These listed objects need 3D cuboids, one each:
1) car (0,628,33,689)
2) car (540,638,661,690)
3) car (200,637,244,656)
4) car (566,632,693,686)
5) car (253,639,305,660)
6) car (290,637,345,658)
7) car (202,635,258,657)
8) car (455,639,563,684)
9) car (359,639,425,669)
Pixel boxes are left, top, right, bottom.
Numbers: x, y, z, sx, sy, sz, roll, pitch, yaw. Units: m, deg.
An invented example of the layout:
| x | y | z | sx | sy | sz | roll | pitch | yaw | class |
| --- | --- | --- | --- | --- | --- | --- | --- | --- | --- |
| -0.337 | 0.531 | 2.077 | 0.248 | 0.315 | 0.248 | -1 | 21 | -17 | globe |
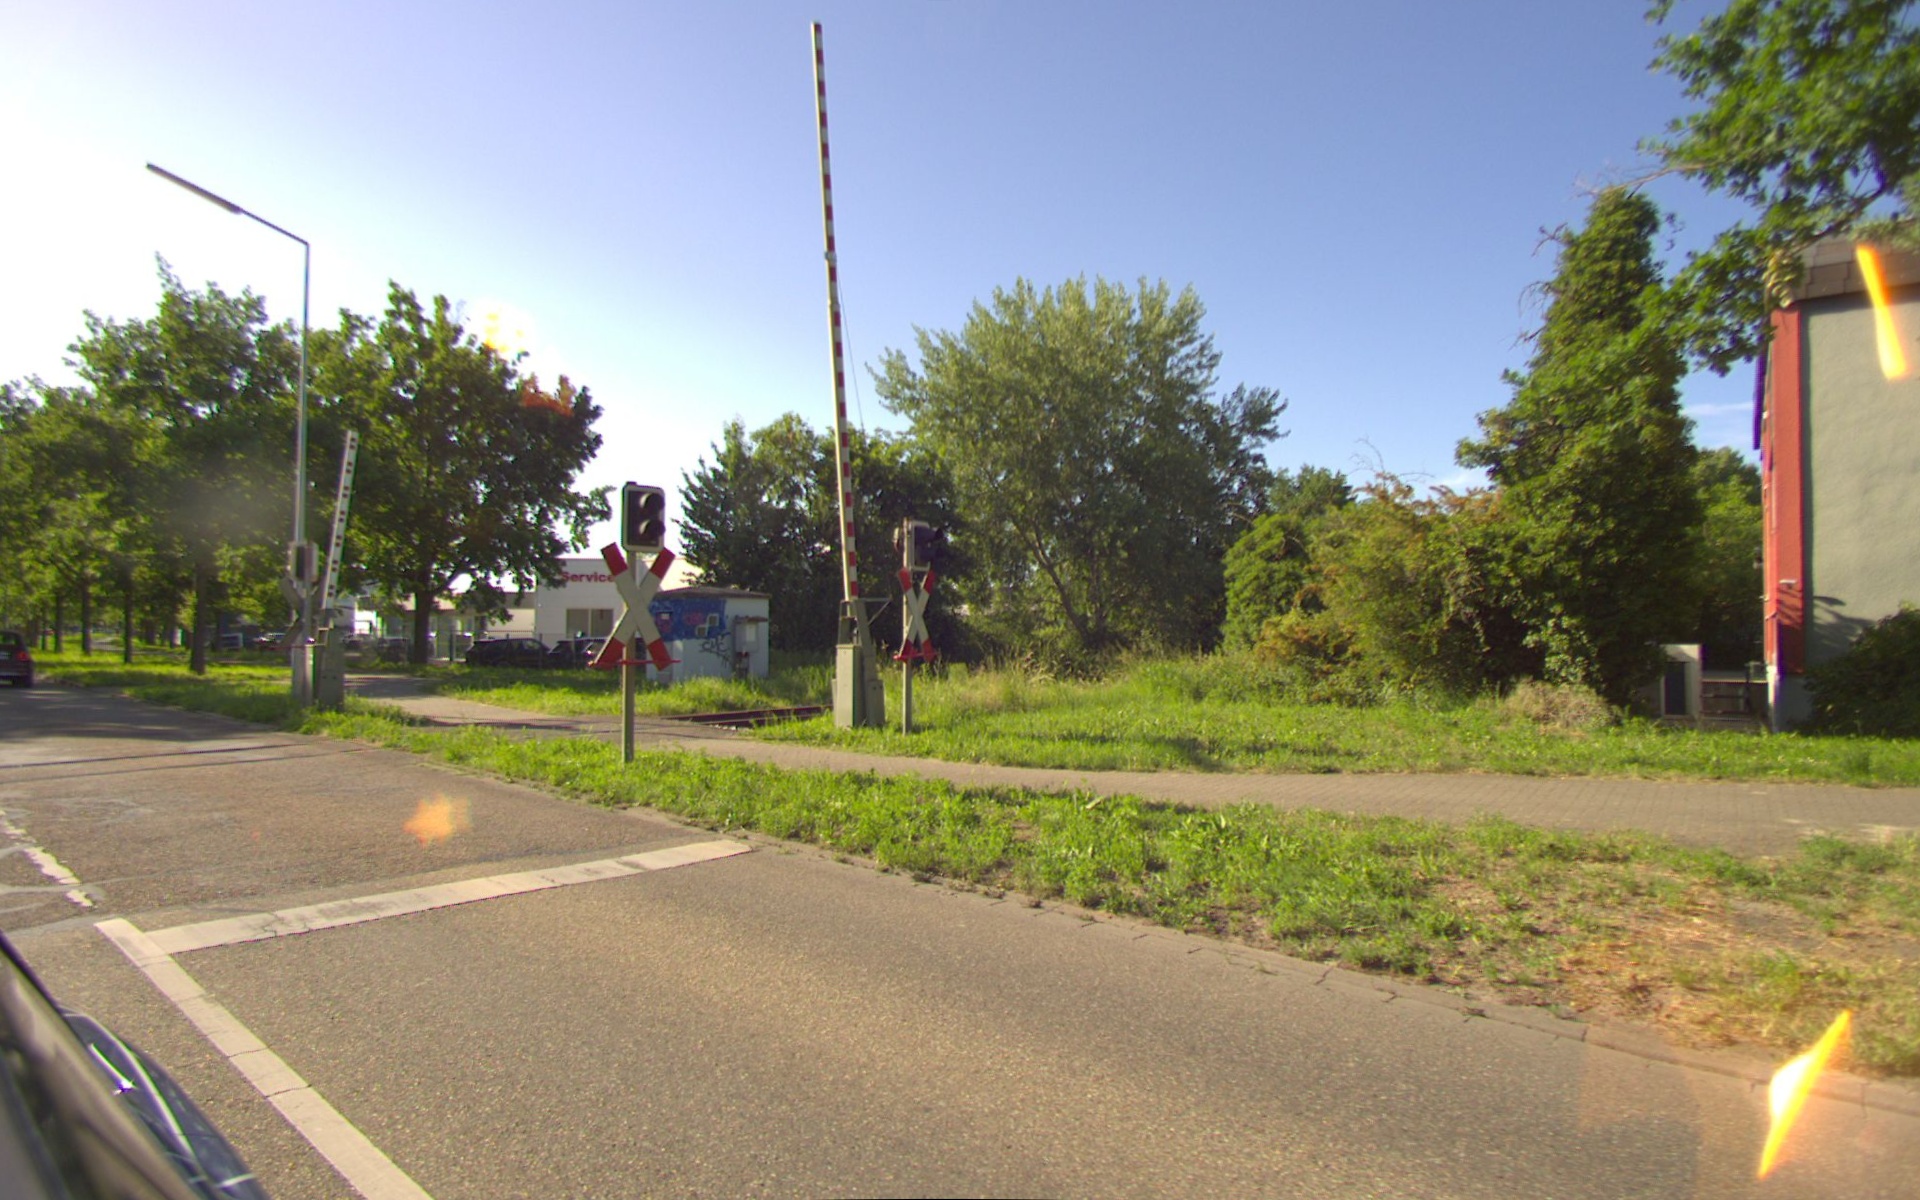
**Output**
| x | y | z | sx | sy | sz | roll | pitch | yaw | class |
| --- | --- | --- | --- | --- | --- | --- | --- | --- | --- |
| -25.585 | 1.498 | 26.499 | 3.999 | 1.516 | 1.548 | -2 | -3 | 42 | car |
| -14.314 | 2.494 | 40.497 | 1.998 | 1.815 | 4.149 | -2 | -1 | 39 | car |
| -56.796 | 3.562 | 77.942 | 2.531 | 1.481 | 1.430 | 1 | -3 | -28 | car |
| -12.461 | 2.181 | 38.311 | 1.998 | 1.815 | 4.149 | -2 | -1 | 39 | car |
| -59.494 | 4.289 | 88.398 | 4.481 | 1.688 | 1.980 | -1 | -1 | 30 | car |
| -57.544 | 4.253 | 90.618 | 5.241 | 1.730 | 1.979 | -2 | -1 | 31 | car |
| -65.986 | 4.145 | 91.444 | 3.938 | 1.755 | 2.003 | 0 | -1 | -42 | car |
| -20.247 | 2.726 | 45.535 | 1.997 | 1.815 | 3.950 | -2 | -1 | 37 | car |
| -33.149 | 3.127 | 59.036 | 5.016 | 1.610 | 1.971 | -2 | -1 | 44 | car |
